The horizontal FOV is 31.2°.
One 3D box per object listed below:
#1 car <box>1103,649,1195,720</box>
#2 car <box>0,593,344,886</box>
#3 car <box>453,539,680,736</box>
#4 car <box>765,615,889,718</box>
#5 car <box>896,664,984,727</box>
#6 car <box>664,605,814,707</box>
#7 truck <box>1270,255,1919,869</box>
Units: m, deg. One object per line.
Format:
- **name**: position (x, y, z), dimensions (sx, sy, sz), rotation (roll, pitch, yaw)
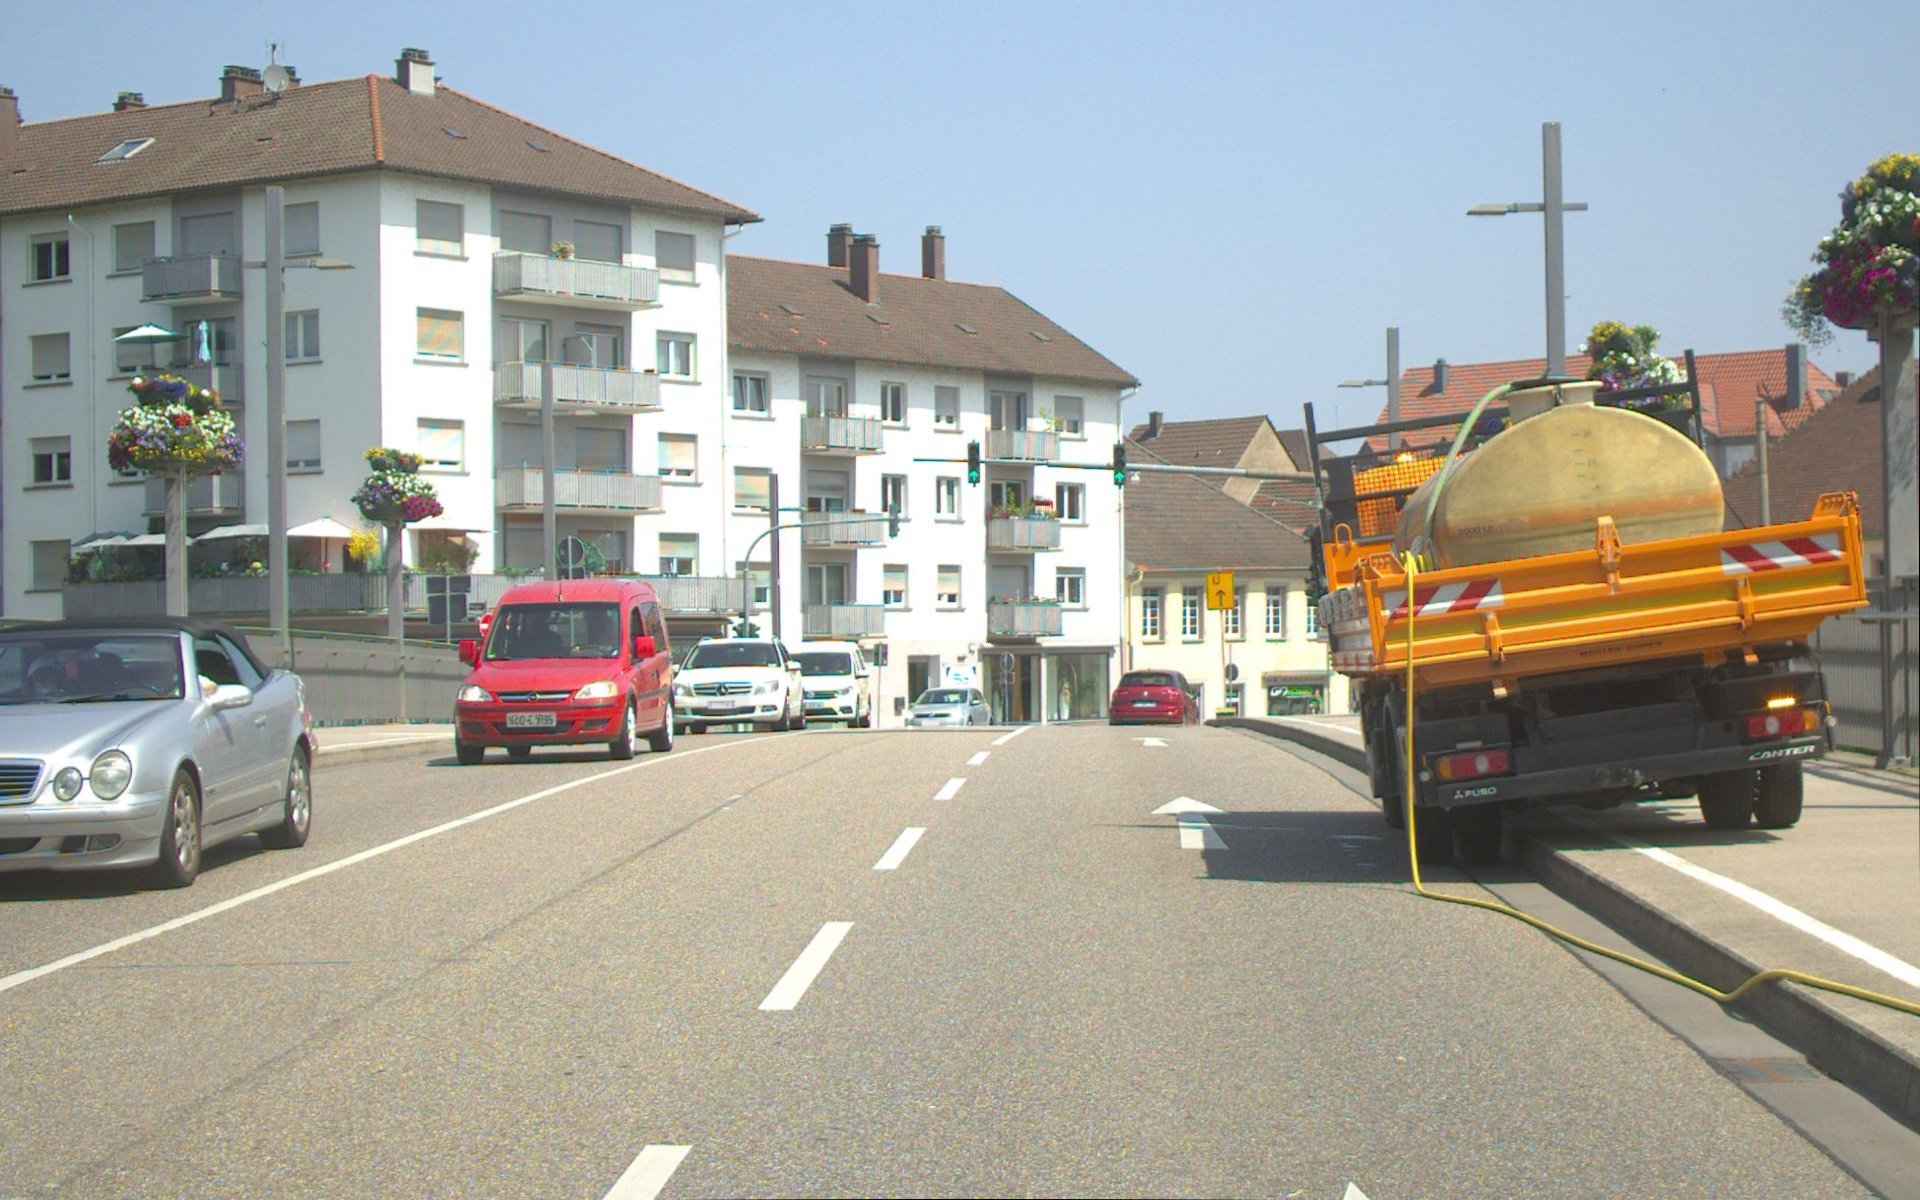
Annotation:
- **car**: position (4.575, 2.040, 83.688), dimensions (1.990, 1.607, 4.342), rotation (-1, 0, 1)
- **car**: position (-4.642, 0.665, 18.381), dimensions (1.698, 1.354, 4.456), rotation (-2, 0, 2)
- **car**: position (-3.754, 0.377, 33.380), dimensions (1.736, 1.771, 4.176), rotation (-1, -1, 0)
- **car**: position (-2.669, 1.393, 69.966), dimensions (1.759, 1.851, 4.645), rotation (-5, -3, 5)
- **car**: position (-0.495, 2.438, 88.591), dimensions (1.761, 1.514, 3.999), rotation (-3, -1, 6)
- **car**: position (-3.268, 0.844, 51.597), dimensions (1.844, 1.427, 4.713), rotation (-1, -1, 1)
- **truck**: position (3.237, -0.162, 18.962), dimensions (2.606, 2.682, 5.822), rotation (-4, 0, 3)
